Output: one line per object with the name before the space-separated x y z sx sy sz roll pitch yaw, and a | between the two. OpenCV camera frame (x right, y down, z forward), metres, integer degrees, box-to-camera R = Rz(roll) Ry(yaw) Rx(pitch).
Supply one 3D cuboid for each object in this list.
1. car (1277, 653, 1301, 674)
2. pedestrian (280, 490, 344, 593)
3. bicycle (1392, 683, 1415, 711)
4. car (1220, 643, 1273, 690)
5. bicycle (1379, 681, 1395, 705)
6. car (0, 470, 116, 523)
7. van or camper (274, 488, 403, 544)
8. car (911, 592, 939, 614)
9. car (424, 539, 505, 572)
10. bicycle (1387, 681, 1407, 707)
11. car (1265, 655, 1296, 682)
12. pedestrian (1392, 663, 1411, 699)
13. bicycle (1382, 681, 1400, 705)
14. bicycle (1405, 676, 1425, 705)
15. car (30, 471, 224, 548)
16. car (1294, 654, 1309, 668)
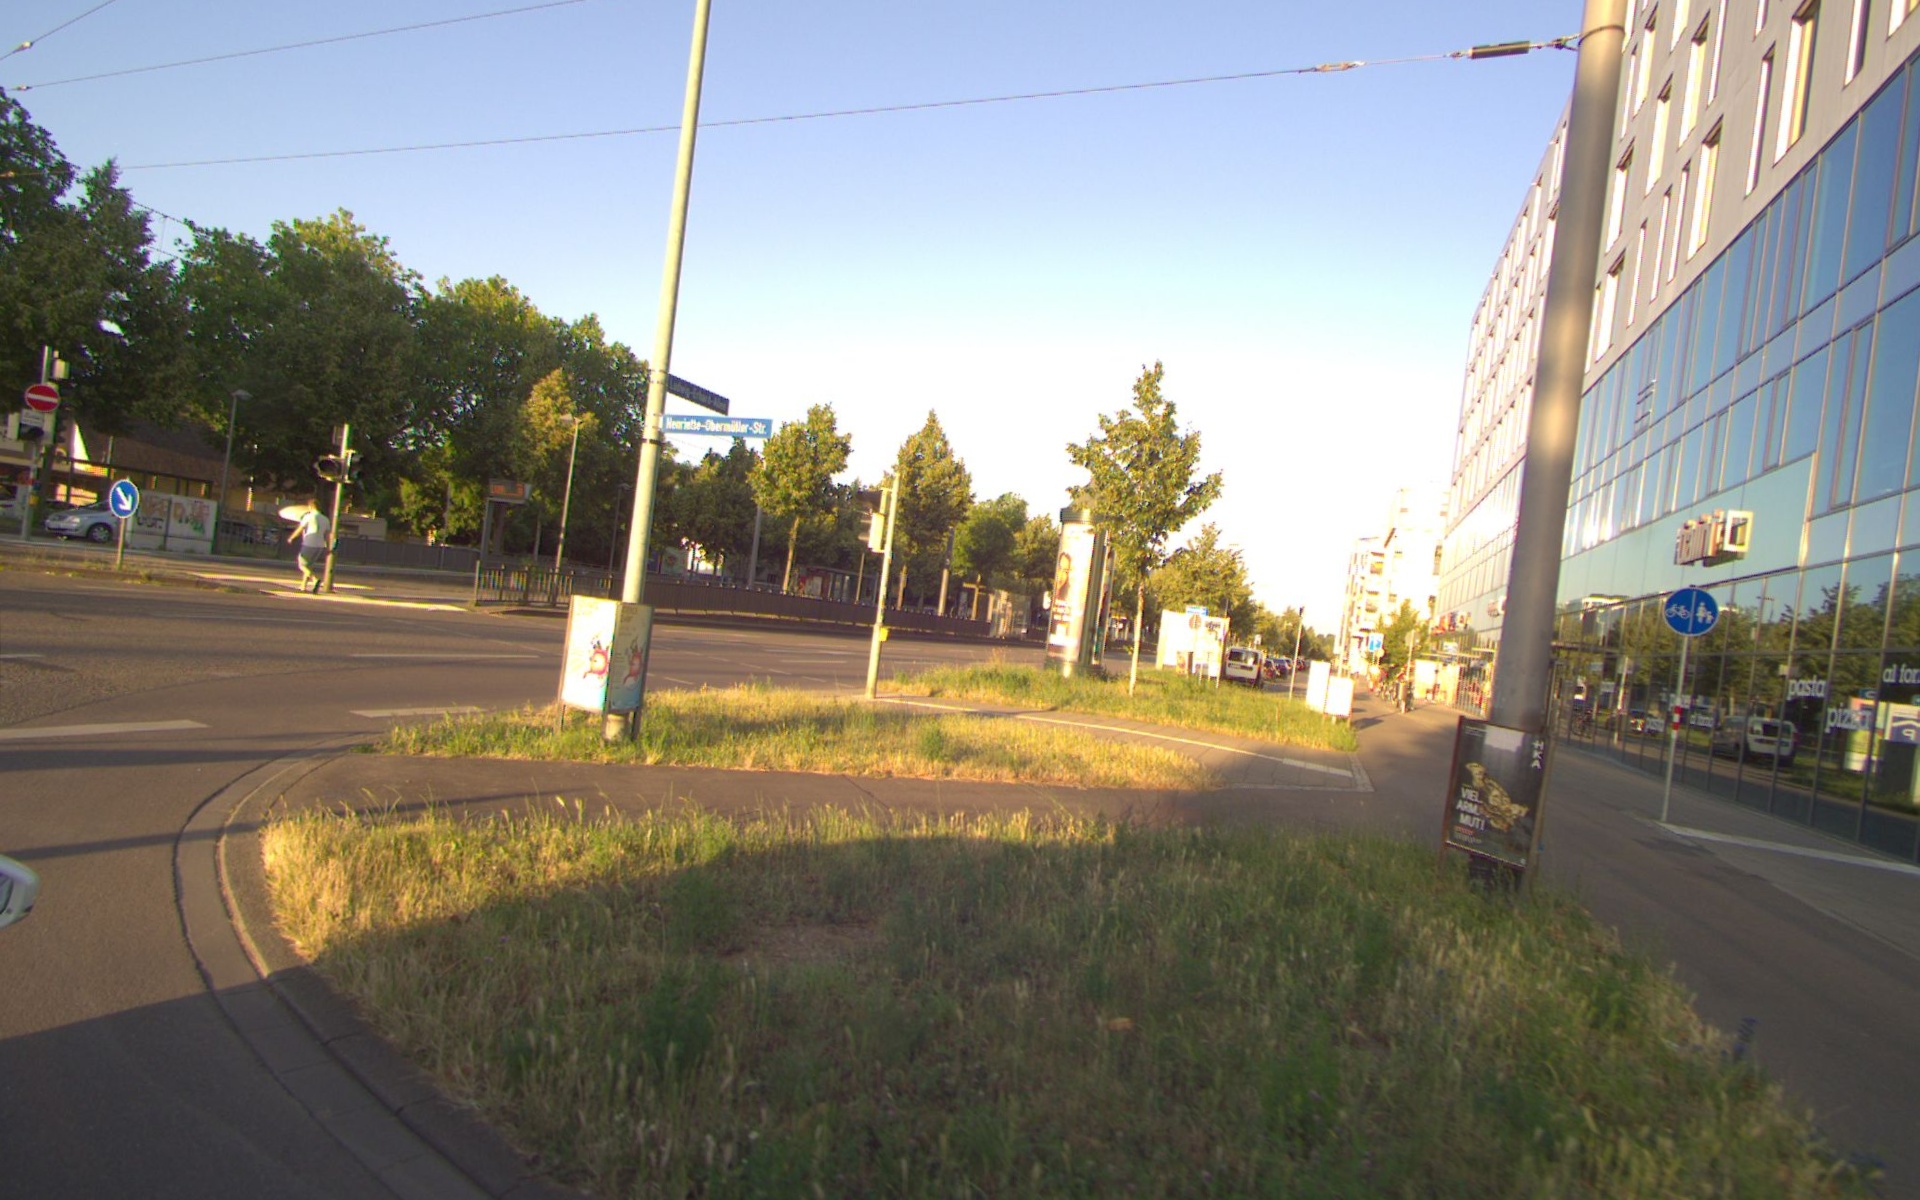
car | 32.488 6.229 99.331 1.963 1.717 4.415 10 0 20
pedestrian | -12.253 -1.107 19.022 0.758 1.812 0.794 8 -1 -38
bicycle | 19.331 4.214 43.835 0.625 1.081 2.119 8 0 29
car | 13.794 3.170 48.239 1.823 1.849 4.395 10 0 21
bicycle | 22.062 4.795 52.024 0.625 1.081 2.121 8 0 23
car | -39.317 -4.483 43.127 1.964 1.596 4.242 7 -1 24
van or camper | -39.147 -5.227 63.628 2.224 2.439 6.581 7 -1 26
car | -4.211 0.362 121.250 1.748 2.211 4.000 8 0 21
car | -31.573 -2.822 64.261 1.964 1.482 4.243 7 -1 24
bicycle | 20.327 4.372 46.814 0.624 1.080 2.123 7 -1 20
car | 24.785 5.262 77.808 1.963 1.717 4.595 10 0 18
pedestrian | 27.225 5.002 62.025 0.800 2.115 1.112 7 0 23
bicycle | 21.265 4.560 49.578 0.625 1.081 2.121 8 0 25
bicycle | 18.540 3.664 41.011 0.534 1.081 2.003 8 0 27
car | -27.417 -2.928 33.331 1.827 1.748 4.550 7 -1 18
car | 48.586 8.663 143.085 1.865 1.793 3.947 8 0 20
